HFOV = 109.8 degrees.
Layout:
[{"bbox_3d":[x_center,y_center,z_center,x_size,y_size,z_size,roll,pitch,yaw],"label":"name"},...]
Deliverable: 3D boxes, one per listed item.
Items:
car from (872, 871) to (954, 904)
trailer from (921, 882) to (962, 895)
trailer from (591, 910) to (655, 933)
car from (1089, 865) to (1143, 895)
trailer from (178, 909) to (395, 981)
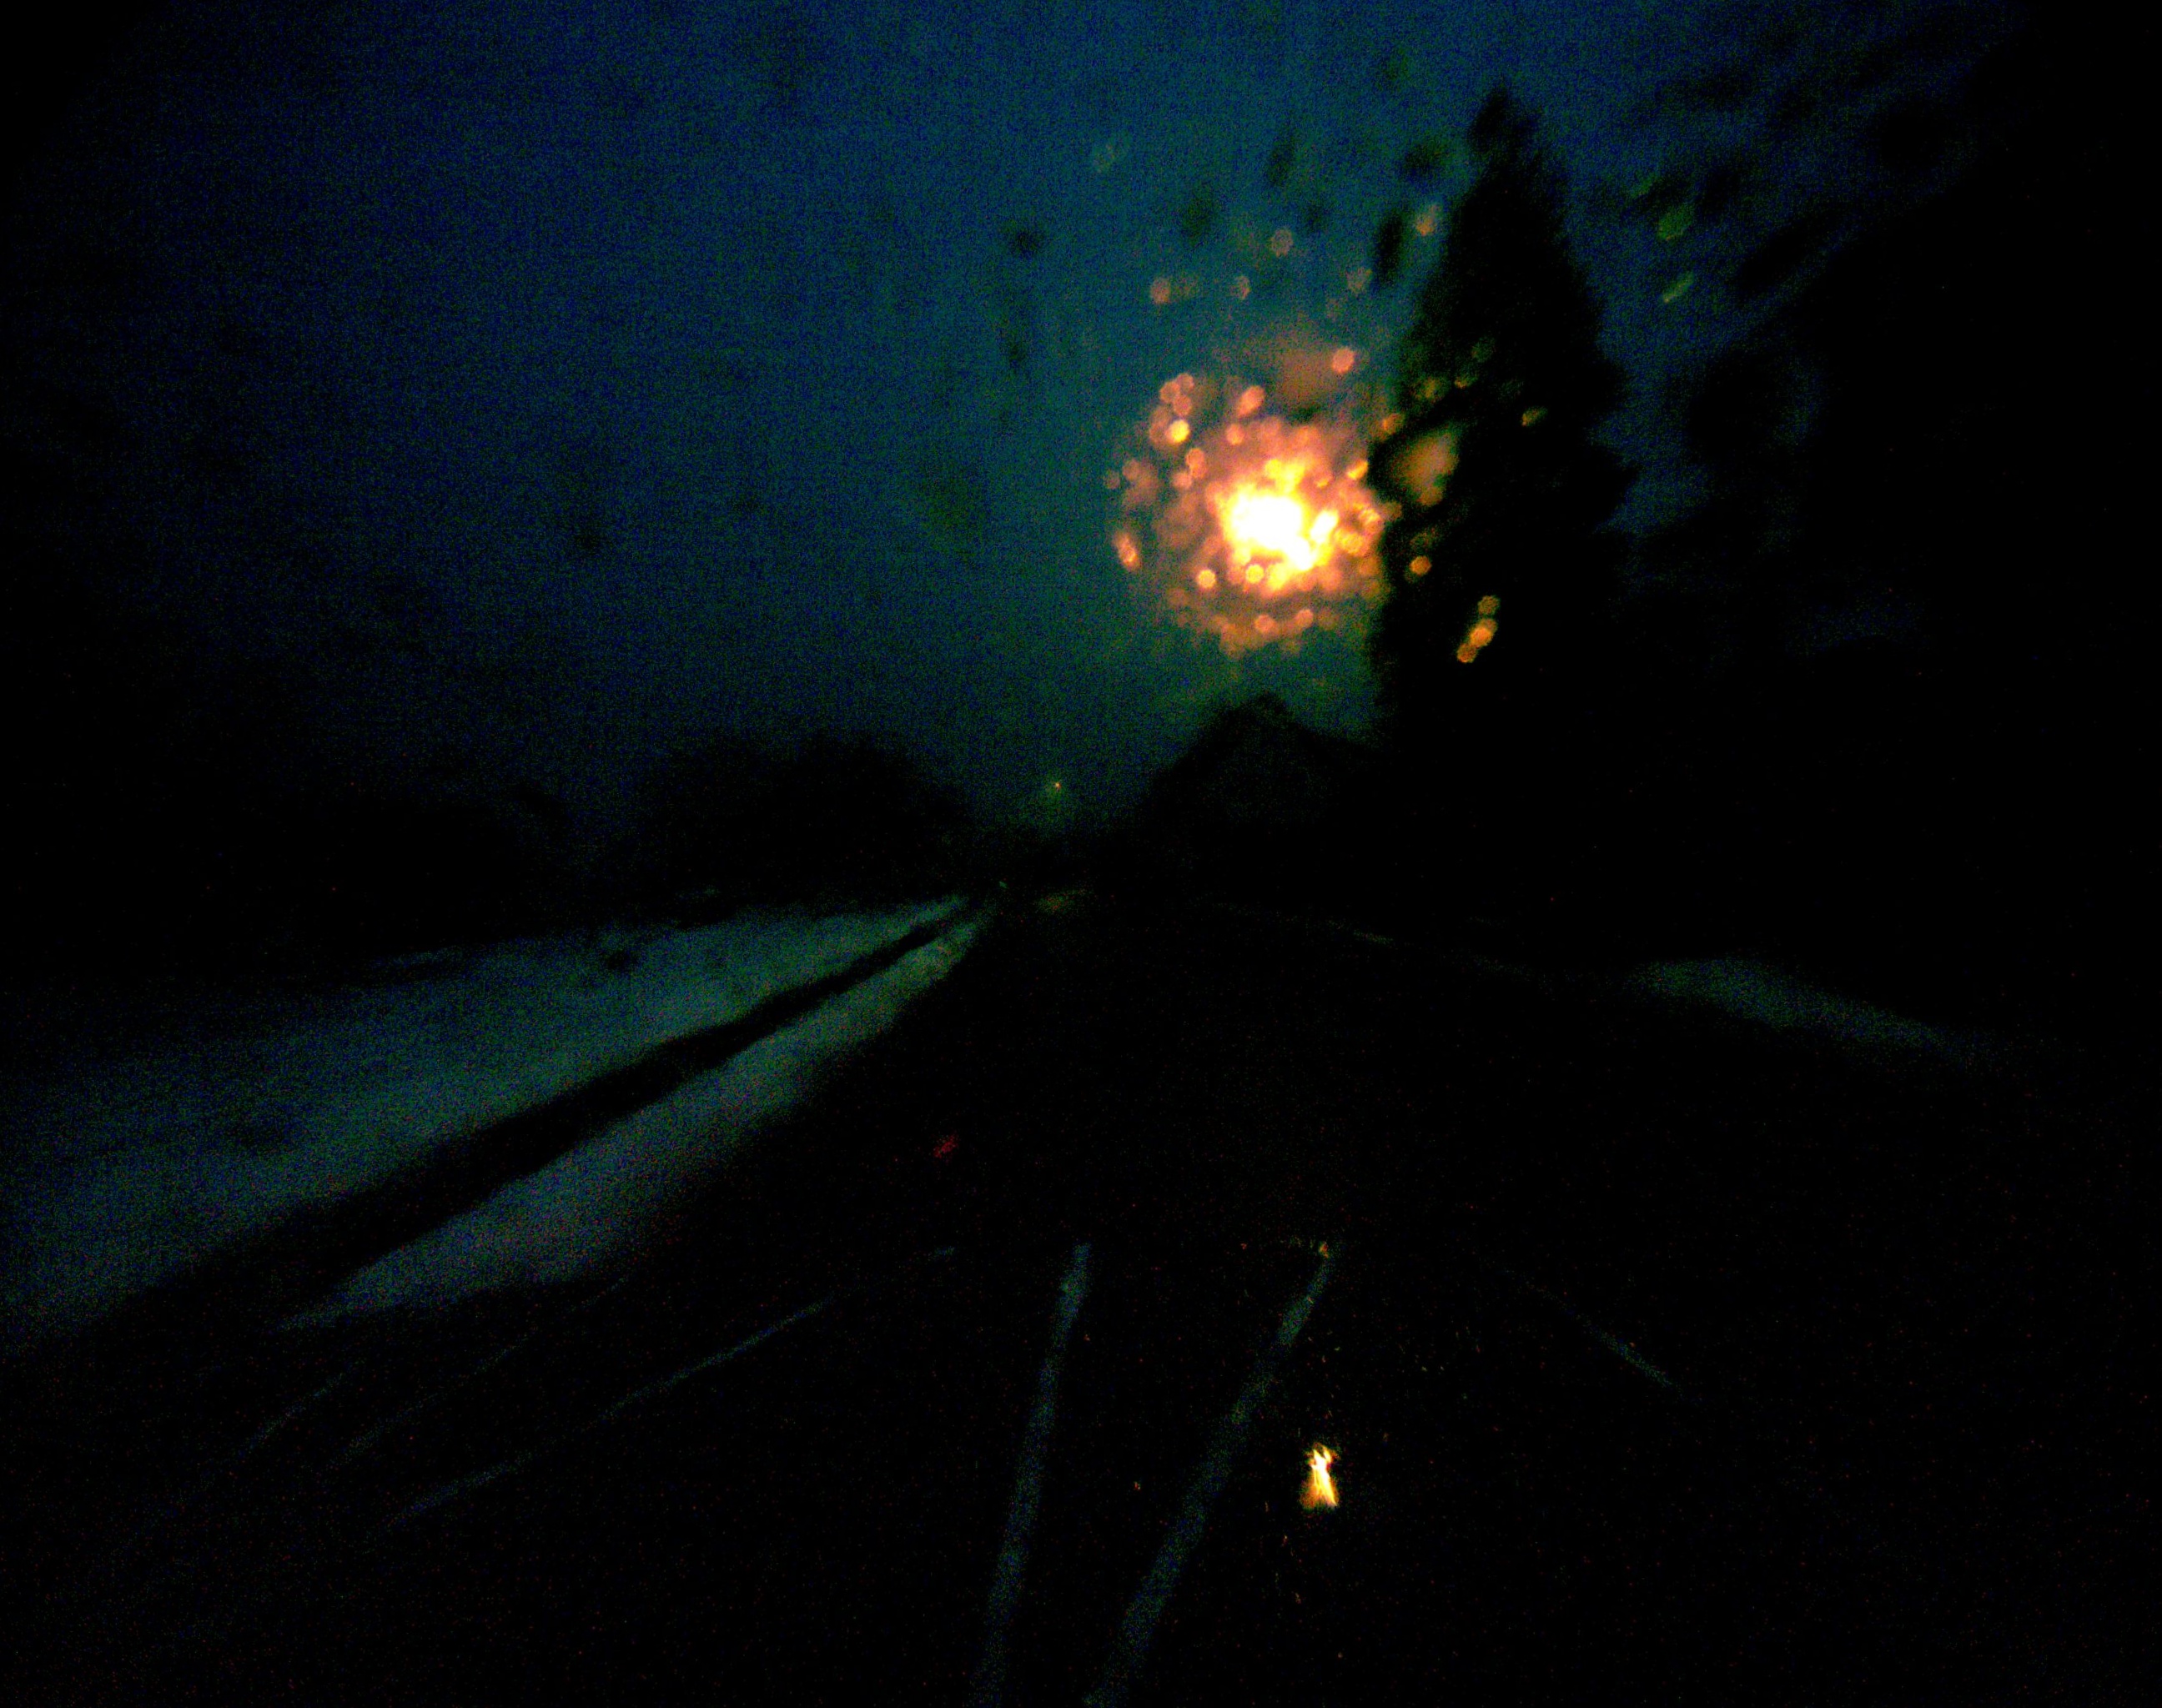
[{"bbox_3d":[-9.918,1.979,45.245,4.463,1.373,2.035,-7,-1,-7],"label":"car"},{"bbox_3d":[-10.919,2.672,59.297,1.553,0.940,3.990,0,-3,-37],"label":"trailer"},{"bbox_3d":[-22.767,3.338,37.886,1.850,0.940,3.658,-1,-2,-16],"label":"trailer"},{"bbox_3d":[1.781,1.373,40.646,1.882,1.417,5.390,-3,-1,-7],"label":"car"},{"bbox_3d":[-27.713,3.109,26.717,4.757,1.930,2.223,-4,-1,-12],"label":"trailer"}]
